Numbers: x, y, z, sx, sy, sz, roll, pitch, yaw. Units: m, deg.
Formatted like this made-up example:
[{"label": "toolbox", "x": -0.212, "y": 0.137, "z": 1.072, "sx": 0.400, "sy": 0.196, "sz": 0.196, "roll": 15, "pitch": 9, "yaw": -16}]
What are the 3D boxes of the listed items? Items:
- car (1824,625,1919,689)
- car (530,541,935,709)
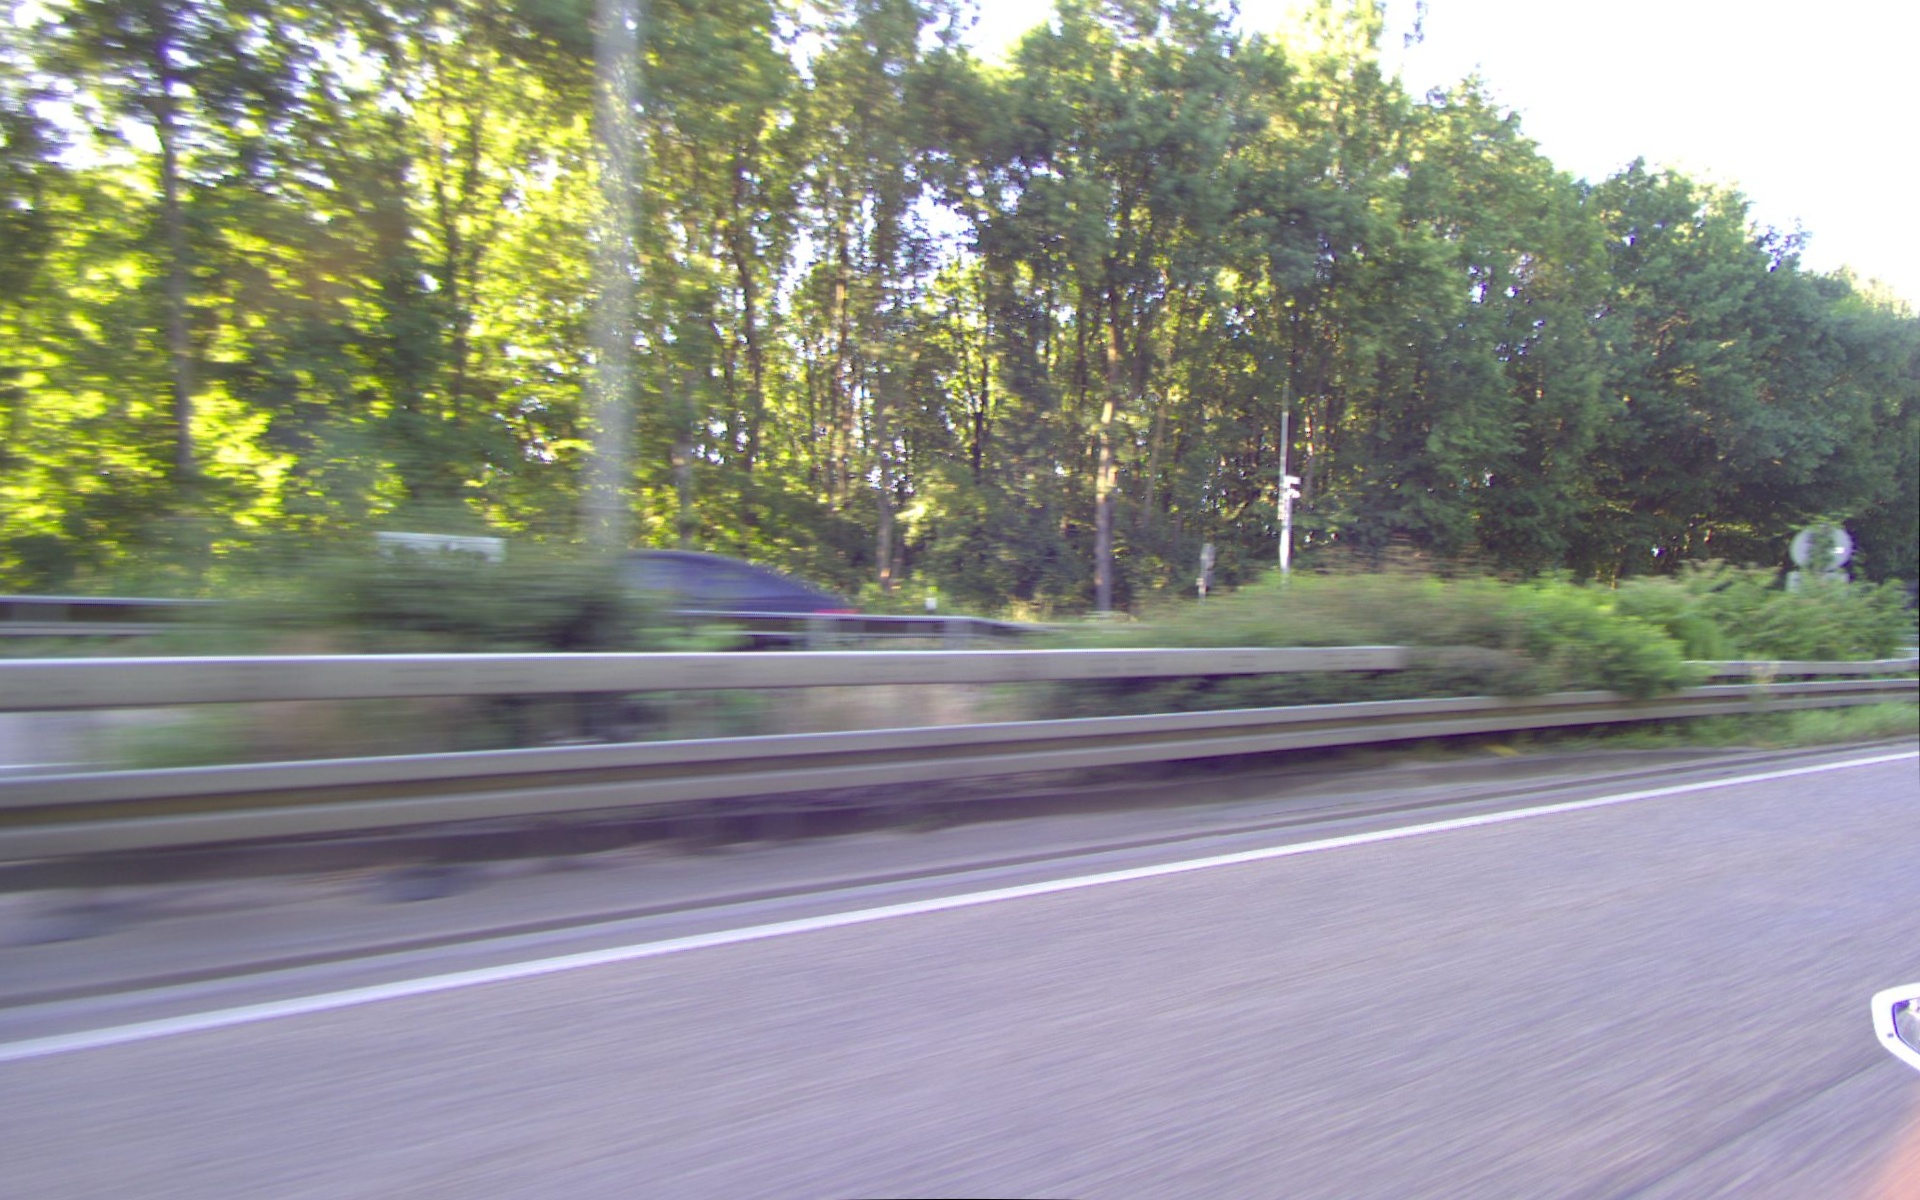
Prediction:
[{"label": "car", "x": 25.465, "y": 1.528, "z": 27.146, "sx": 4.070, "sy": 1.560, "sz": 1.984, "roll": 2, "pitch": -1, "yaw": -30}, {"label": "car", "x": -2.398, "y": 0.279, "z": 10.807, "sx": 3.897, "sy": 1.516, "sz": 1.742, "roll": 2, "pitch": -1, "yaw": -30}]
